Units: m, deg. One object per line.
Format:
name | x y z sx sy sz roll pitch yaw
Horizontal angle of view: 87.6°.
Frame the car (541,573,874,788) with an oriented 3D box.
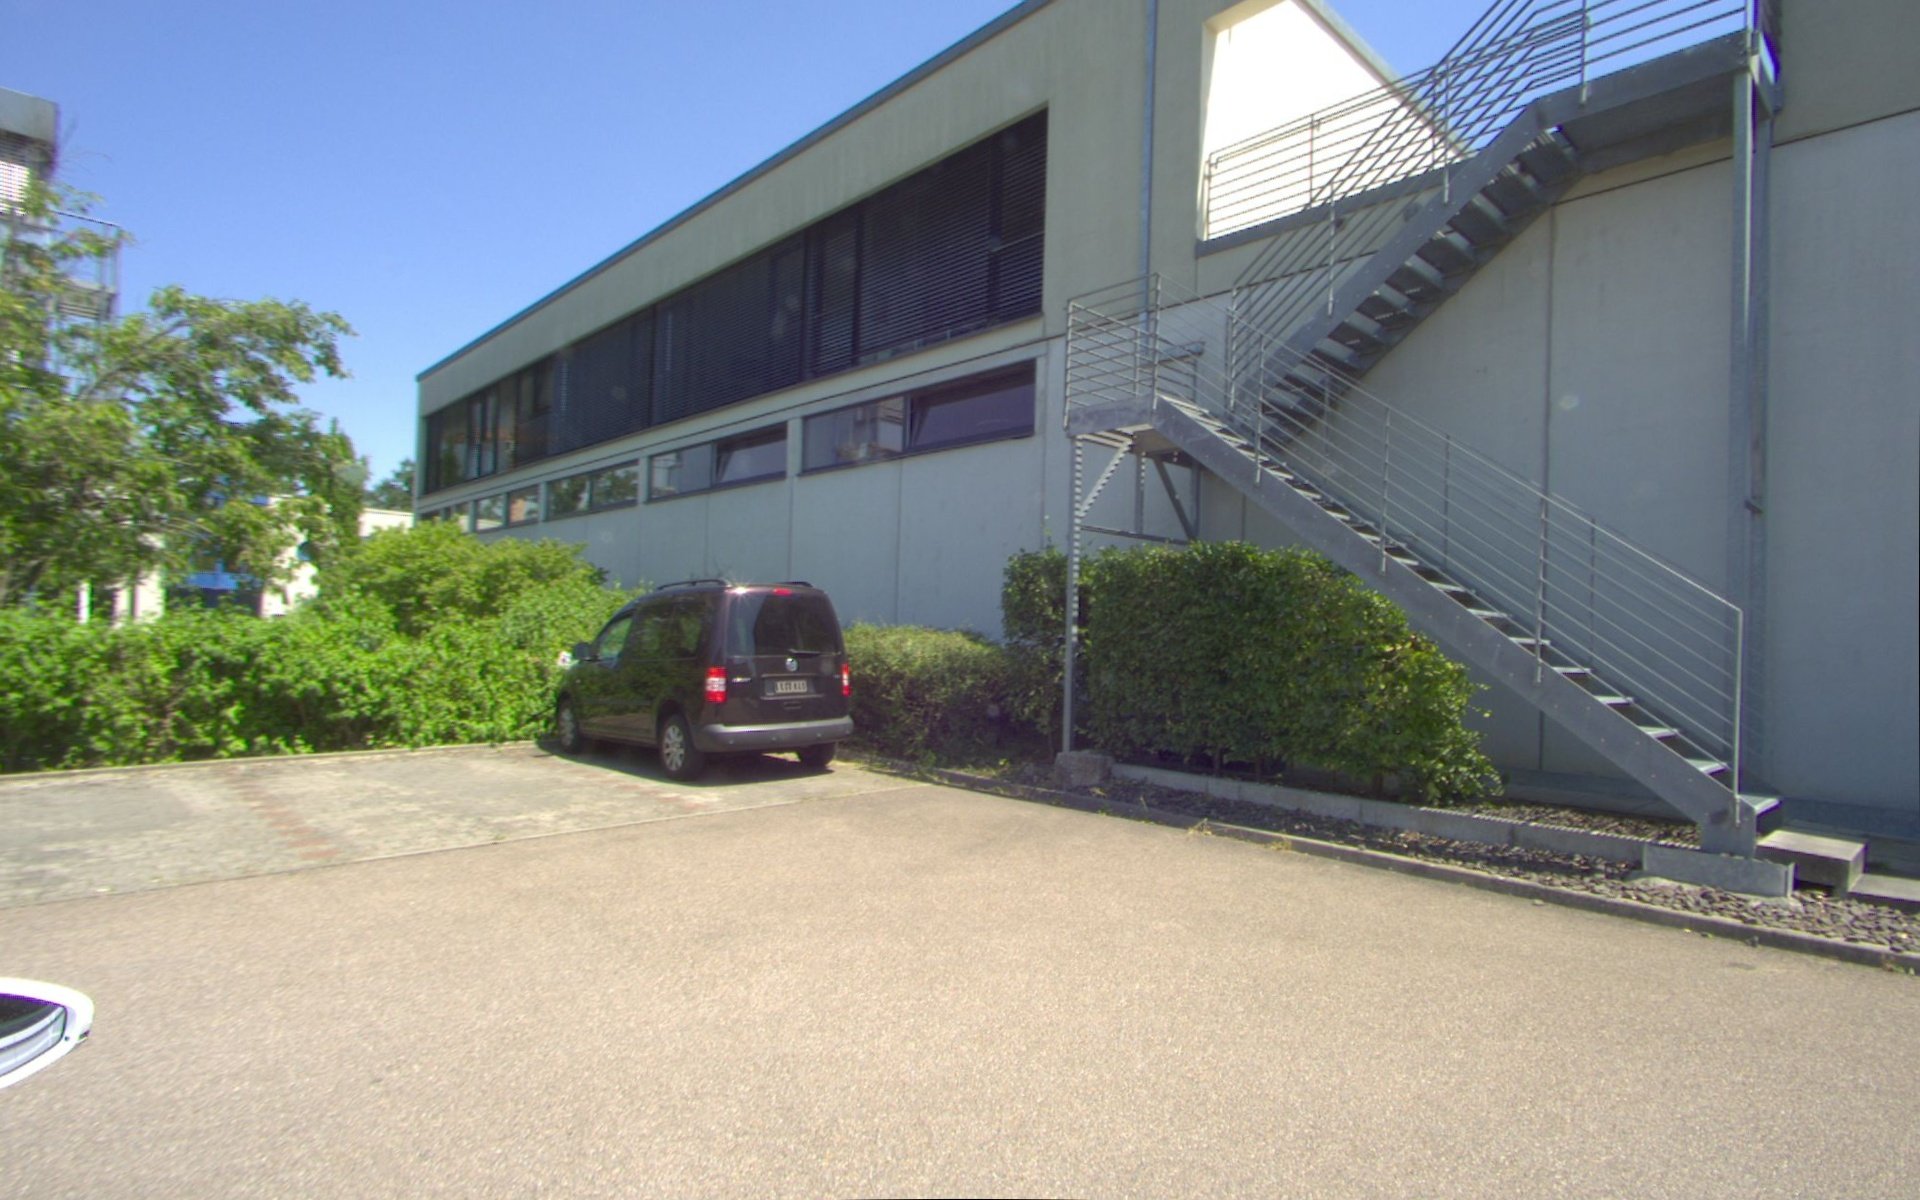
car | -2.836 0.735 10.719 1.732 1.860 3.961 2 -1 -43
